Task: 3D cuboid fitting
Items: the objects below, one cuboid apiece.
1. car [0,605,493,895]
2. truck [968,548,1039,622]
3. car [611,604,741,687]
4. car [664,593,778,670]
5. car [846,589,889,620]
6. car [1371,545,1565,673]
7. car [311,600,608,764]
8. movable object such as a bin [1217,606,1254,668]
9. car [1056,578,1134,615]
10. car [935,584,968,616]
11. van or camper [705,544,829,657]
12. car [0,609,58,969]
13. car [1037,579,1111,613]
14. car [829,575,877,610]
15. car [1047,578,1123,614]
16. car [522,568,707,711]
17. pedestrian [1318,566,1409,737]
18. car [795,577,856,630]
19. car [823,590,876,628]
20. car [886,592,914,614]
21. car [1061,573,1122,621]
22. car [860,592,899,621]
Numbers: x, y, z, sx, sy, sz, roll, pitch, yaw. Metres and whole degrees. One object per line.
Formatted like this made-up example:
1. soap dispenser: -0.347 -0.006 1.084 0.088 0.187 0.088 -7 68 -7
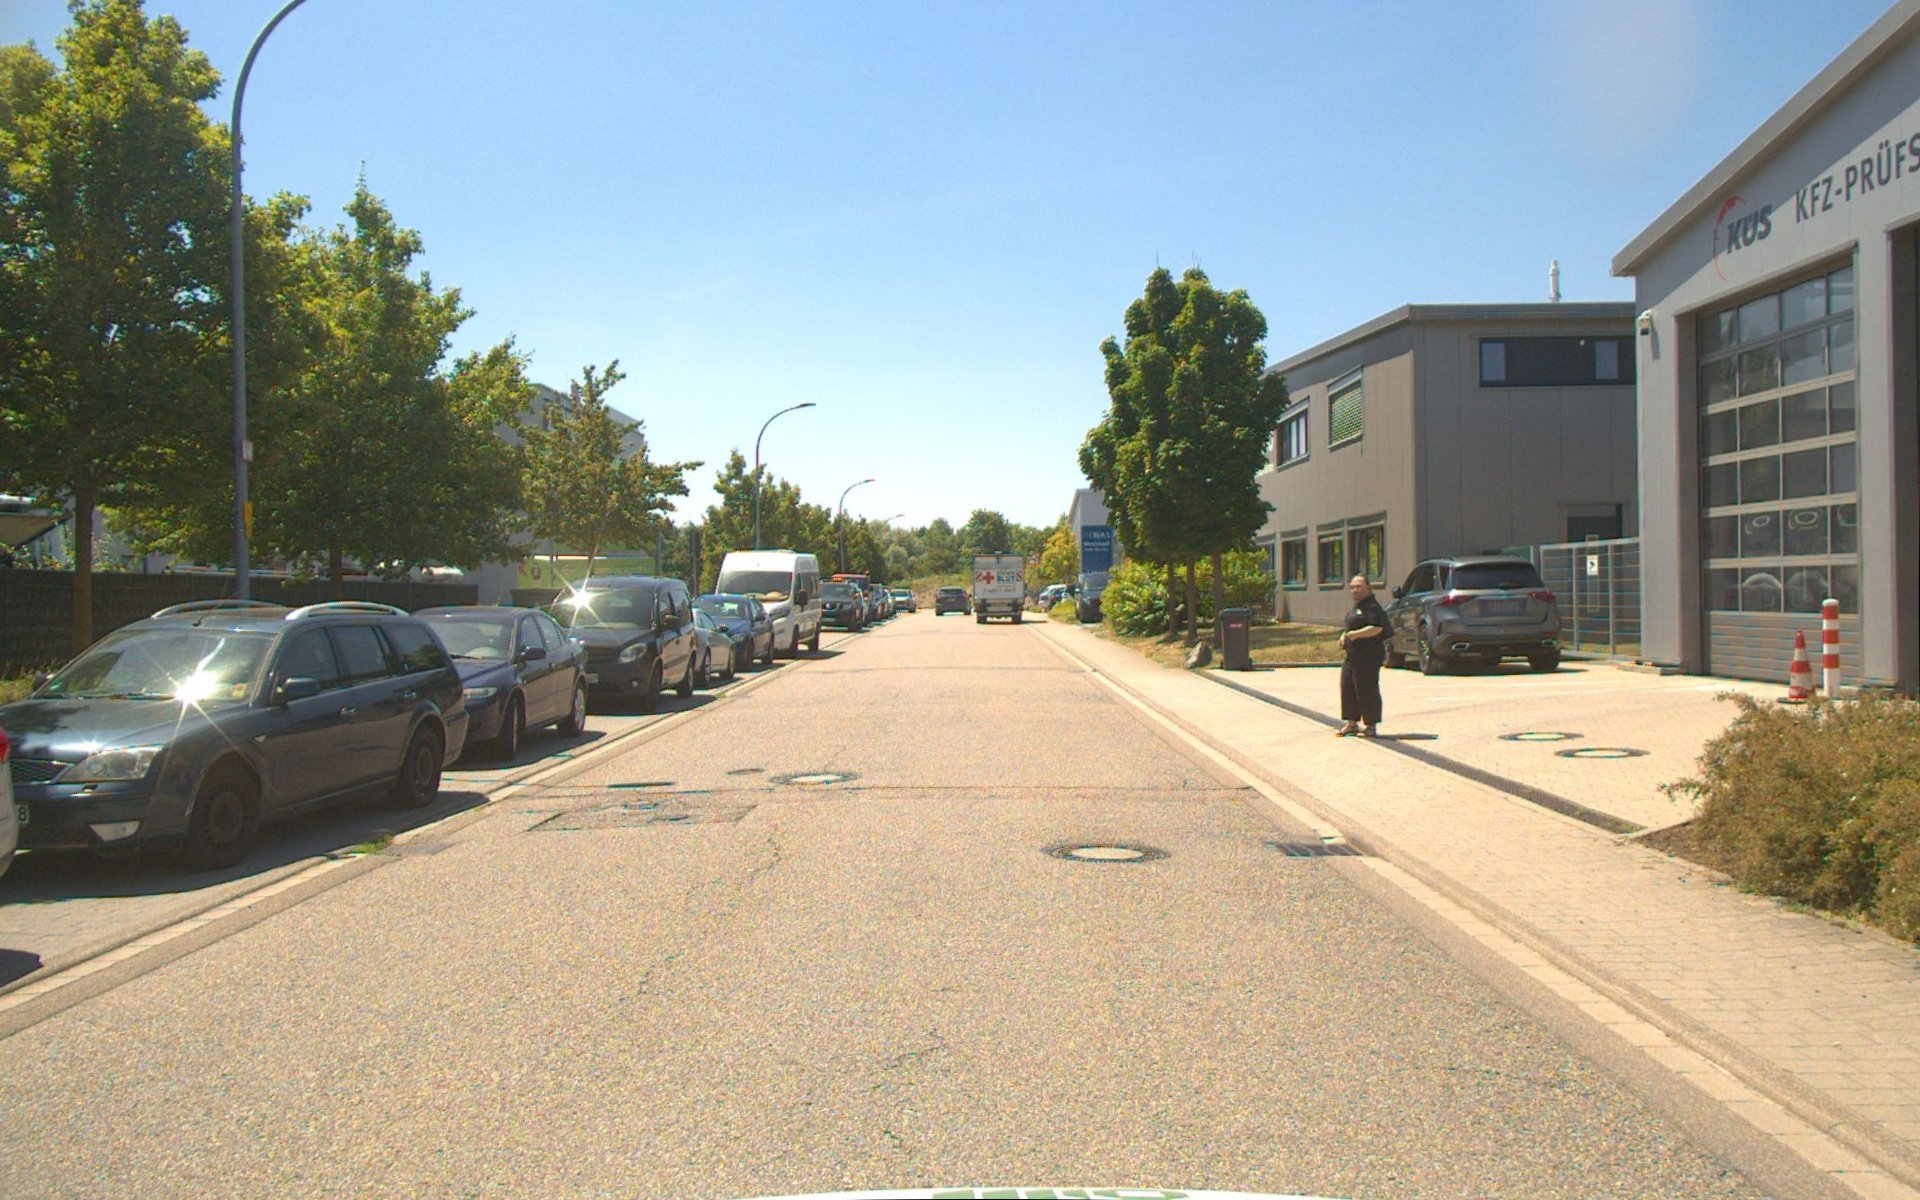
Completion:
1. car: -4.869 0.793 11.053 1.761 1.502 4.640 0 0 6
2. truck: 1.860 -0.619 72.272 2.872 3.026 6.419 1 0 1
3. car: -4.860 0.743 28.709 1.447 1.320 3.900 0 0 2
4. car: -4.834 0.598 33.957 1.762 1.475 4.252 0 0 0
5. car: -4.649 0.215 83.600 1.762 1.513 4.253 0 1 2
6. car: 8.031 0.154 26.606 1.748 1.814 4.906 -2 -1 2
7. car: -5.070 0.749 17.436 1.762 1.502 4.588 0 0 0
8. movable object such as a bin: 4.848 0.638 29.167 0.520 1.071 0.845 -1 0 2
9. car: 6.947 -0.199 85.303 3.798 1.780 1.751 1 0 -2
10. car: -0.433 -0.004 91.655 1.753 1.652 3.809 1 0 0
11. van or camper: -4.647 0.005 40.853 2.035 2.526 6.132 1 0 2
12. car: -4.923 0.793 5.074 1.762 1.502 4.555 0 0 1
13. car: 6.184 -0.218 89.963 3.798 1.780 1.751 1 0 -2
14. car: -4.747 -0.361 73.869 1.762 1.513 4.253 0 1 2
15. car: 6.574 -0.208 87.363 3.798 1.780 1.751 1 0 -2
16. car: -4.787 0.509 23.482 1.762 1.846 4.252 0 0 0
17. pedestrian: 4.056 0.512 16.637 0.492 1.641 0.711 -4 0 -16
18. car: -4.891 0.115 60.775 1.762 1.881 4.253 0 1 2
19. car: -4.544 0.340 68.572 1.762 1.513 4.253 0 1 2
20. car: -4.280 0.206 118.408 1.762 1.513 4.253 0 1 2
21. car: 5.182 -0.118 65.859 1.953 1.835 4.138 -1 0 -2
22. car: -4.314 0.320 89.414 1.762 1.513 4.253 0 1 2
